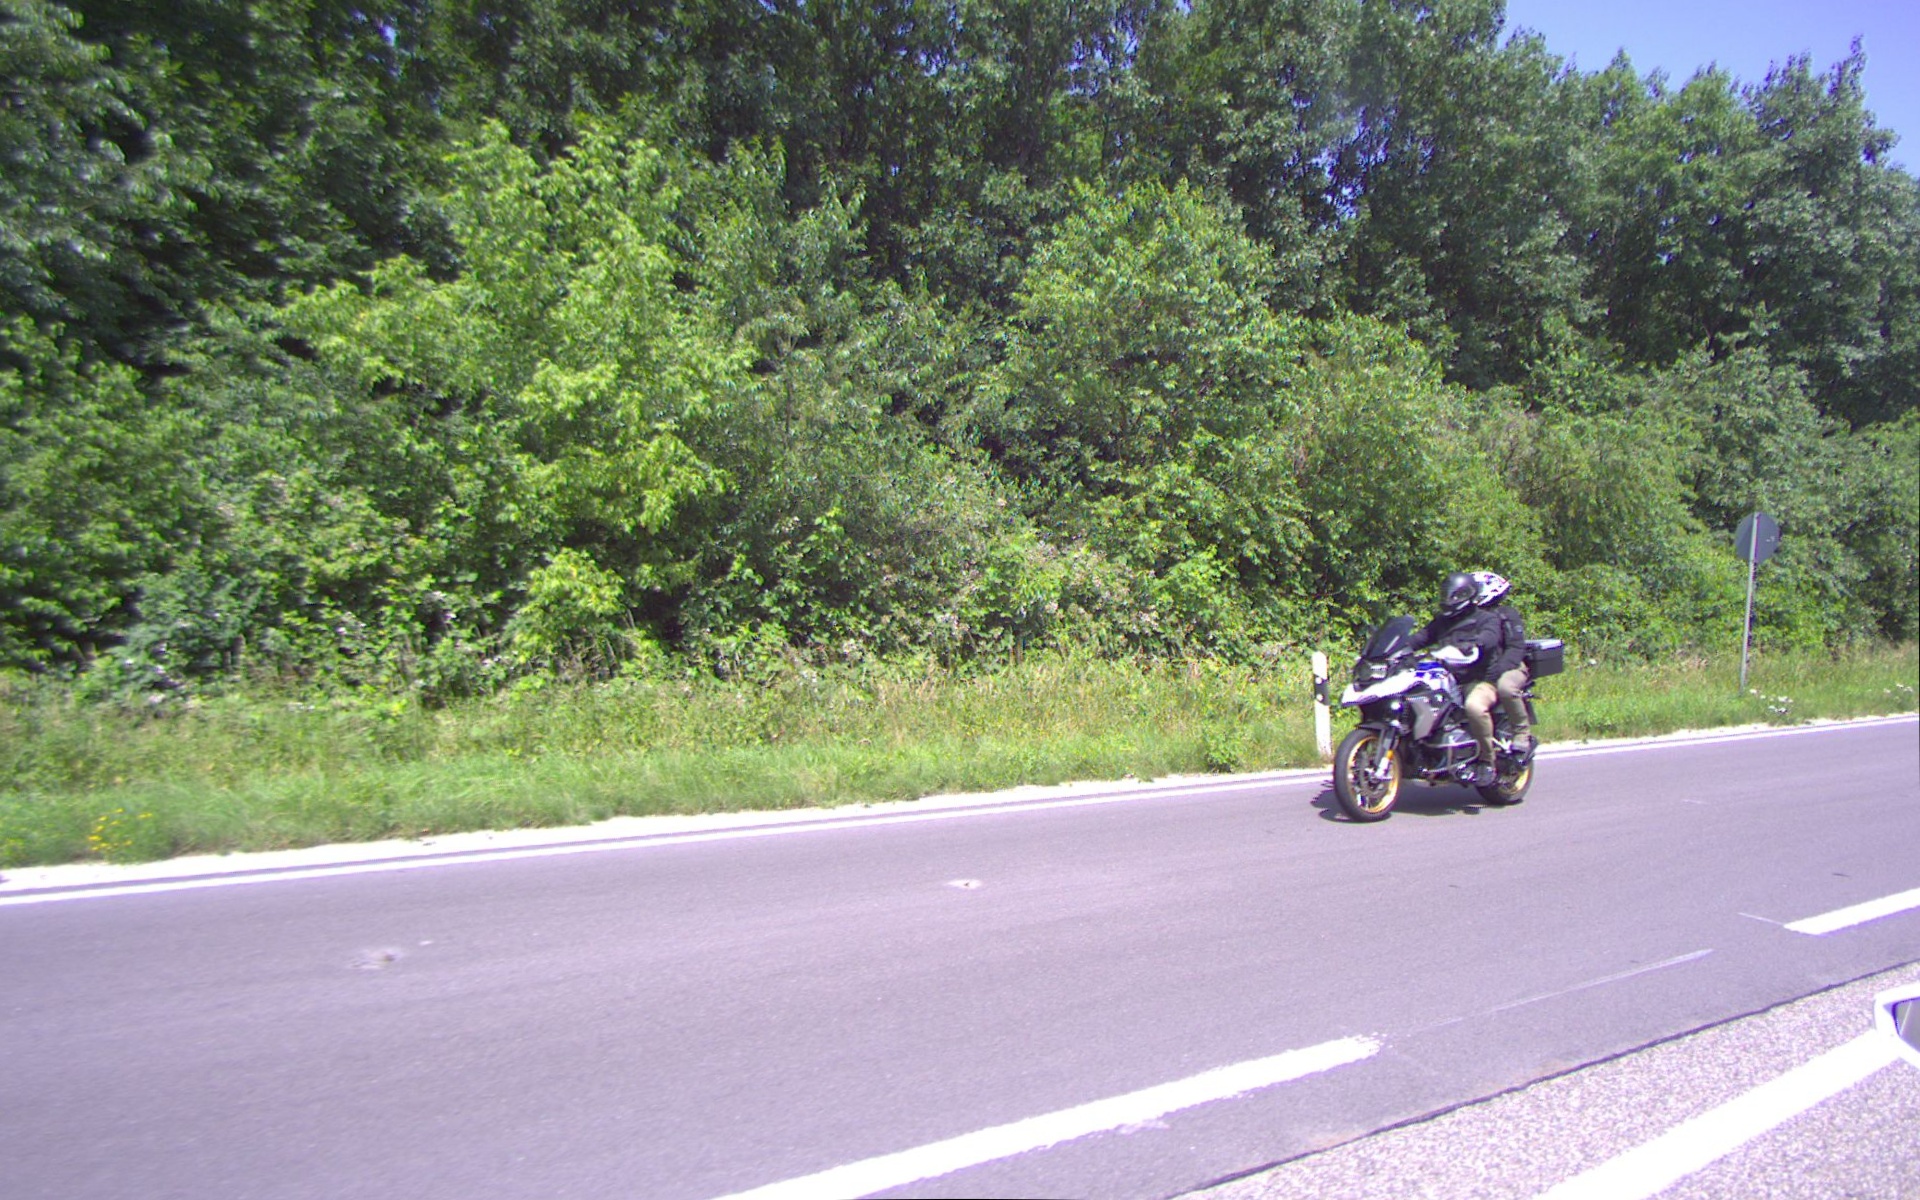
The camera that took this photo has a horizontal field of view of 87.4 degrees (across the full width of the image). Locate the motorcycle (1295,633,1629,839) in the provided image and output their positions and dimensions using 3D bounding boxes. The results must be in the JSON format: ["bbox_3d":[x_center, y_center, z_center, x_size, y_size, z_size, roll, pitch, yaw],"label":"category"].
[{"bbox_3d":[3.778,0.899,7.462,2.652,1.267,0.942,1,1,-32],"label":"motorcycle"}]

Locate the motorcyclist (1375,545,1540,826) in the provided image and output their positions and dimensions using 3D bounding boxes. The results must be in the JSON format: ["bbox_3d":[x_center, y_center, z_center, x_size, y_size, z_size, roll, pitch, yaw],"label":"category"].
[{"bbox_3d":[3.621,0.579,7.344,0.650,1.907,0.815,1,1,-31],"label":"motorcyclist"}]

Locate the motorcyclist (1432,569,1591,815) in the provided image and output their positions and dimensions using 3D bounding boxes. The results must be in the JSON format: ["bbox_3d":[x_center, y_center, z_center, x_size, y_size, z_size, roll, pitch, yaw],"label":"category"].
[{"bbox_3d":[4.229,0.658,7.731,0.616,1.775,0.826,1,1,-31],"label":"motorcyclist"}]
